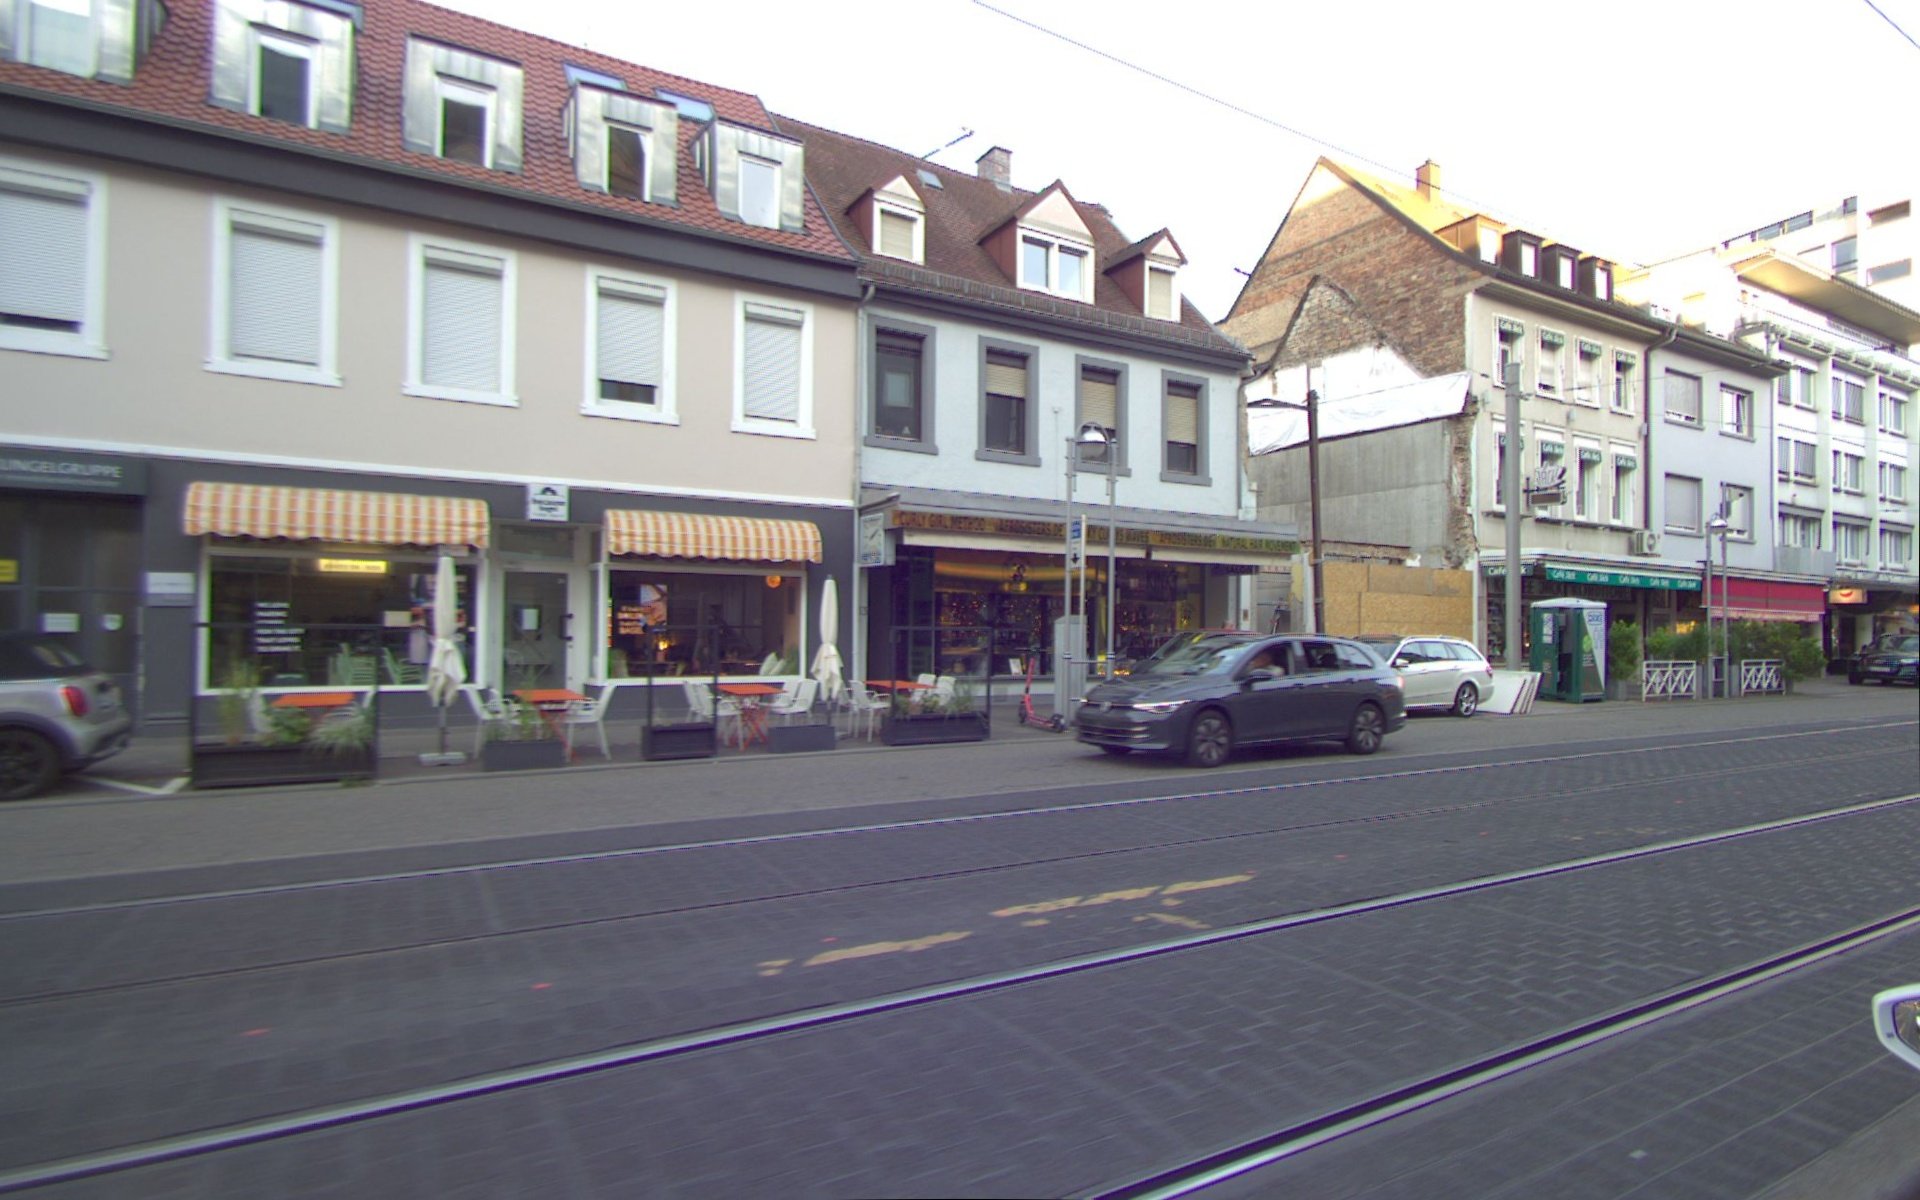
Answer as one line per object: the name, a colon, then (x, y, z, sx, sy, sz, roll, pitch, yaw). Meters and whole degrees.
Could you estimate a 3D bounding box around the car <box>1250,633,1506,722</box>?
car: (7.937, 1.388, 18.970, 4.763, 1.472, 1.985, 1, -2, -29)

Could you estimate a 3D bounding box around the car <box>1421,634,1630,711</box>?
car: (12.064, 1.477, 21.402, 4.277, 1.472, 1.985, 1, -2, -29)

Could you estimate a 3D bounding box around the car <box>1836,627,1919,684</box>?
car: (30.518, 1.759, 32.571, 4.411, 1.700, 1.851, 1, -1, -30)

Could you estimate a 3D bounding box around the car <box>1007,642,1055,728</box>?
car: (1.076, 1.267, 15.198, 0.336, 1.251, 0.779, 1, -2, -31)

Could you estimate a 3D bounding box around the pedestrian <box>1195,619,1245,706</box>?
pedestrian: (5.129, 1.212, 19.814, 0.686, 1.666, 0.659, 1, -1, -30)

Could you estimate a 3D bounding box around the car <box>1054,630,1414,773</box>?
car: (3.414, 1.115, 12.247, 4.414, 1.472, 1.683, 1, -3, -32)

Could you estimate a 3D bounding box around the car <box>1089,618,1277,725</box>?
car: (3.655, 1.117, 16.416, 2.762, 1.598, 1.470, 1, -2, -31)

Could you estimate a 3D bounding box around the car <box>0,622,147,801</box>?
car: (-9.570, 0.941, 8.629, 3.766, 1.459, 1.591, 1, 1, -30)
